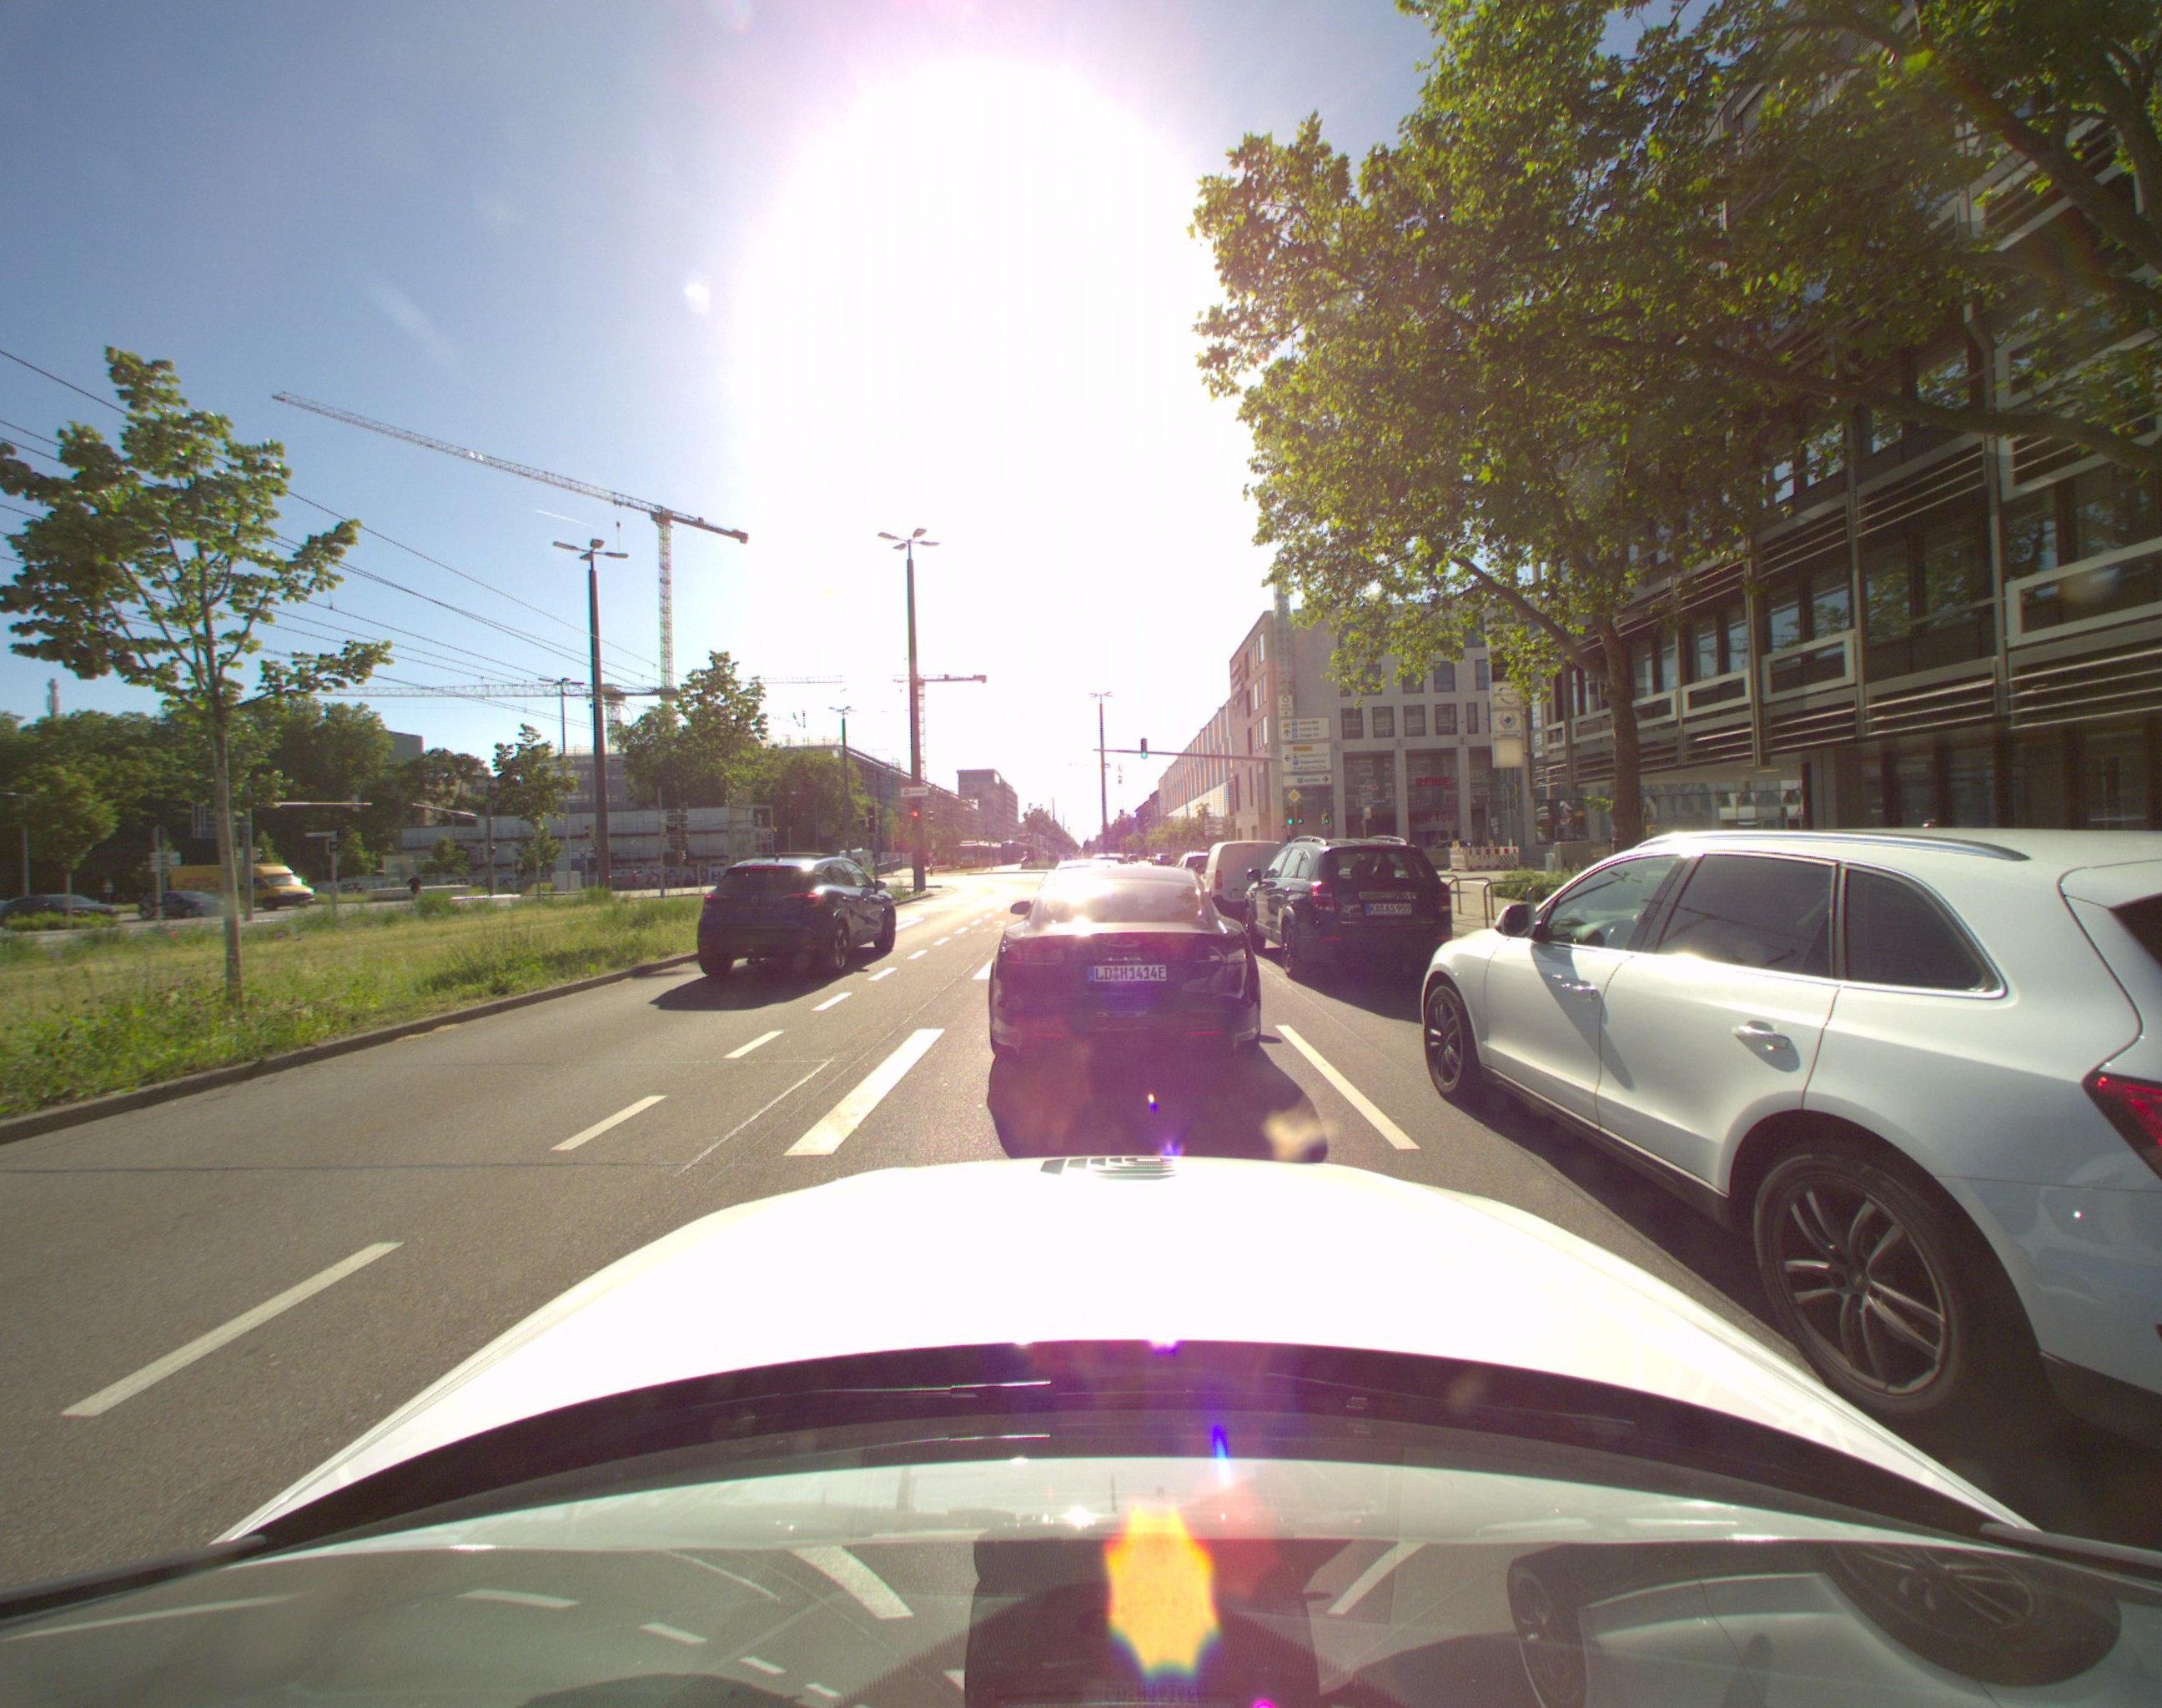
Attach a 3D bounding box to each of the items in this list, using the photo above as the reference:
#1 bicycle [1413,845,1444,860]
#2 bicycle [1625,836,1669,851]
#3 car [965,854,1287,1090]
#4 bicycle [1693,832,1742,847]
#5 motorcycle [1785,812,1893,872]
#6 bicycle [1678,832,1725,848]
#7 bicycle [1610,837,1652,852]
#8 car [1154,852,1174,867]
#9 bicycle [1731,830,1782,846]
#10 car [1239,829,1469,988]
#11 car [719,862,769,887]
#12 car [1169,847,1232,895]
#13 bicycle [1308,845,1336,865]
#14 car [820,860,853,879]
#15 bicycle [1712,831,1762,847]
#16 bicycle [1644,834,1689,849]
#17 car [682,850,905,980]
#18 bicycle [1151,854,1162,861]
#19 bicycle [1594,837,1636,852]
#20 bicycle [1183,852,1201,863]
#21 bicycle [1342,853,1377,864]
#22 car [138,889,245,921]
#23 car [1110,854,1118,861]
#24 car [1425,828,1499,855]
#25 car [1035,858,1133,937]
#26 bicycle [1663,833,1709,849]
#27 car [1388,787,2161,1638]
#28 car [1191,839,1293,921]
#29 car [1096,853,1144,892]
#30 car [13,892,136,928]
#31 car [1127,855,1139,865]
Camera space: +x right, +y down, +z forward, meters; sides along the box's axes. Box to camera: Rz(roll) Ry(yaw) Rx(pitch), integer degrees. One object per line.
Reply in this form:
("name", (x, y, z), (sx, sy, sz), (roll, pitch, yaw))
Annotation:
("bicycle", (26.685, -0.119, 62.618), (1.061, 1.094, 3.500), (-2, 0, 3))
("bicycle", (42.846, -0.758, 61.746), (1.061, 1.094, 3.501), (-2, 0, 4))
("car", (0.366, 0.747, 7.323), (1.991, 1.434, 4.415), (-1, 0, 2))
("bicycle", (48.015, -1.070, 61.492), (1.061, 1.094, 3.501), (-2, 0, 4))
("motorcycle", (19.532, -0.290, 21.072), (0.820, 1.441, 2.123), (-2, 0, 2))
("bicycle", (46.846, -1.022, 61.520), (1.061, 1.094, 3.501), (-2, 0, 4))
("bicycle", (41.692, -0.720, 61.803), (1.061, 1.094, 3.501), (-2, 0, 4))
("car", (9.038, 0.574, 88.963), (1.927, 1.542, 4.002), (-2, 0, 2))
("bicycle", (50.771, -1.203, 61.246), (1.061, 1.094, 3.501), (-2, 0, 4))
("car", (3.409, 0.585, 11.117), (1.777, 1.699, 4.415), (-2, 0, 2))
("car", (-25.600, 1.518, 62.005), (1.818, 1.689, 4.096), (-2, 0, 4))
("car", (4.176, 0.540, 29.109), (1.777, 1.546, 4.041), (-2, 0, 2))
("bicycle", (12.394, 0.052, 41.915), (0.878, 0.984, 2.051), (-2, 0, 1))
("car", (-24.112, 1.533, 80.457), (1.939, 1.707, 4.366), (-2, 0, 0))
("bicycle", (49.150, -1.131, 61.060), (1.061, 1.094, 3.501), (-2, 0, 4))
("bicycle", (44.272, -0.925, 61.694), (1.061, 1.094, 3.501), (-2, 0, 4))
("car", (-3.970, 0.742, 12.033), (1.764, 1.588, 4.089), (0, 0, 1))
("bicycle", (13.633, 0.550, 147.073), (1.881, 1.151, 0.669), (-4, 0, -10))
("bicycle", (40.520, -0.703, 61.879), (1.061, 1.094, 3.501), (-2, 0, 4))
("bicycle", (13.165, 0.409, 96.796), (2.074, 1.205, 0.952), (-3, -1, 7))
("bicycle", (20.399, 0.332, 59.664), (2.183, 0.671, 1.073), (-2, 0, 4))
("car", (-48.637, 2.773, 44.572), (3.966, 1.539, 1.907), (-2, 0, 6))
("car", (7.675, 0.834, 190.555), (1.927, 1.542, 4.002), (-2, 0, 2))
("car", (25.929, -0.832, 55.559), (4.167, 1.612, 1.862), (-2, -2, 3))
("car", (0.116, 0.780, 16.408), (1.710, 1.319, 4.002), (-2, 0, 2))
("bicycle", (45.618, -0.967, 61.480), (1.061, 1.094, 3.501), (-2, 0, 4))
("car", (3.016, 0.642, 3.554), (1.812, 1.613, 4.415), (-2, 0, 2))
("car", (3.752, 0.551, 19.653), (1.777, 1.733, 4.166), (-2, 0, 2))
("car", (1.471, 0.658, 31.371), (1.710, 1.319, 4.002), (-2, 0, 2))
("car", (-49.148, 2.730, 39.811), (3.966, 1.539, 1.907), (-2, 0, 6))
("car", (9.198, 1.038, 143.981), (1.927, 1.542, 4.002), (-2, 0, 2))
